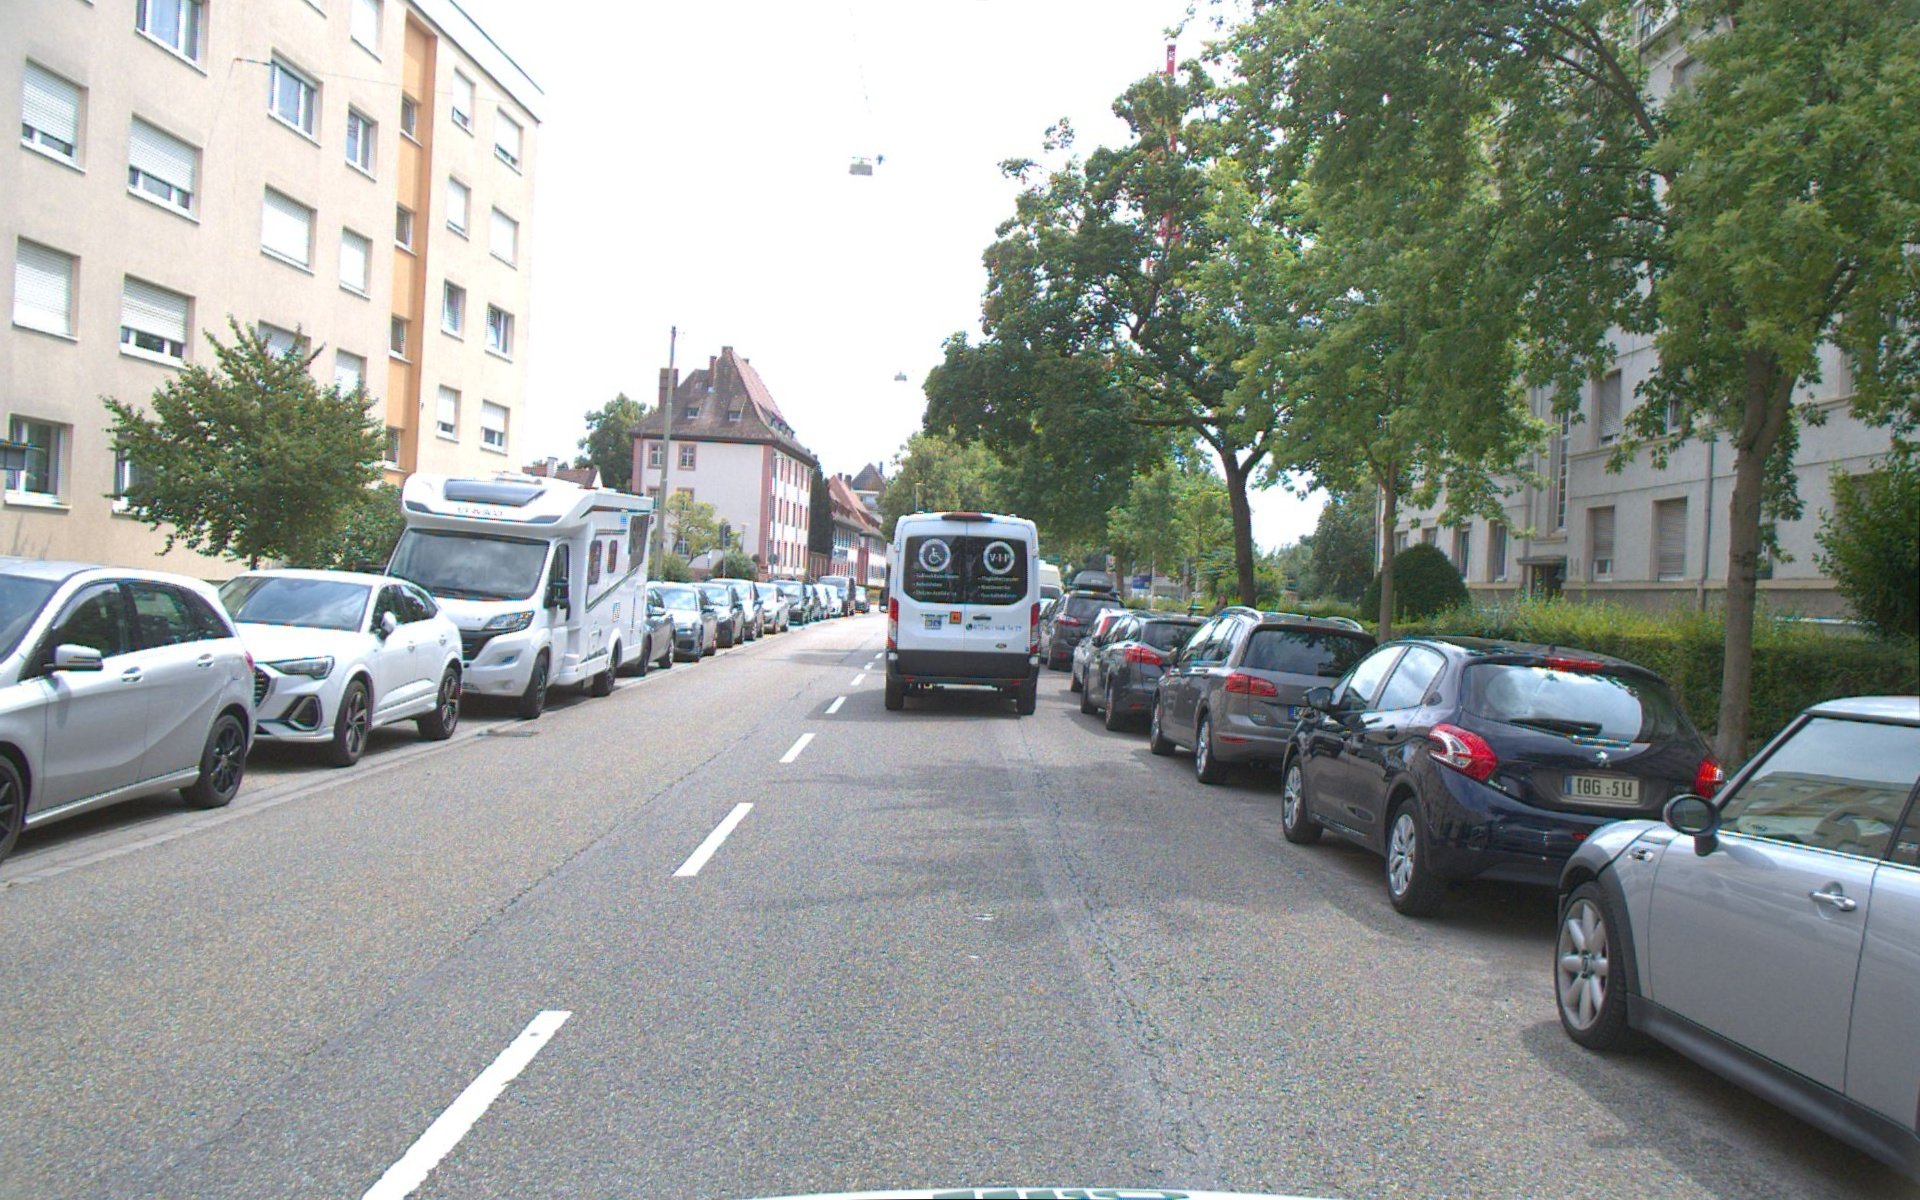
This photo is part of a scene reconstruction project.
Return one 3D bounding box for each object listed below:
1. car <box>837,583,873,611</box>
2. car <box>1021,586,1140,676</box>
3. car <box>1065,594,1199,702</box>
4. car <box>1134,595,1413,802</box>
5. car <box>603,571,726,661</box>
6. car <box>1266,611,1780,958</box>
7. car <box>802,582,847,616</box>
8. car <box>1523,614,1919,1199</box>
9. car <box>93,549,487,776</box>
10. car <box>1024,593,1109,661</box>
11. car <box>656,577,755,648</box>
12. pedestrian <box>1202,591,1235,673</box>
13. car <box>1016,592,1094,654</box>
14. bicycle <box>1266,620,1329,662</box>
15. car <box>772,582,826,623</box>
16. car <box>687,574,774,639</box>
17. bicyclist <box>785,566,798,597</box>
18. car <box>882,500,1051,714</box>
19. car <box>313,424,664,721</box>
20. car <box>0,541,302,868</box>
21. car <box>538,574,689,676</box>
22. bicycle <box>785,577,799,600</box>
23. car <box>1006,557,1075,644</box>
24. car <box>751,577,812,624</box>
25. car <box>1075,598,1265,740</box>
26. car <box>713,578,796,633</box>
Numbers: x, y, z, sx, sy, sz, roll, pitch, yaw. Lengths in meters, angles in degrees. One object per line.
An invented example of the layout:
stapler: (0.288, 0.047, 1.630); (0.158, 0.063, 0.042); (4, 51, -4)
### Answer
car: (-6.024, -0.186, 95.251); (1.749, 1.507, 3.861); (4, 0, 0)
car: (2.592, 0.624, 36.875); (1.889, 1.690, 5.322); (5, 0, -3)
car: (2.685, 0.700, 26.544); (1.625, 1.482, 4.035); (4, 0, 0)
car: (2.906, 0.838, 16.265); (1.626, 1.610, 4.284); (5, 0, -3)
car: (-6.001, 0.275, 34.171); (1.849, 1.606, 5.215); (4, 0, -4)
car: (3.091, 0.912, 9.961); (1.626, 1.495, 3.889); (2, 1, -2)
car: (-6.490, -0.062, 79.399); (1.749, 1.507, 3.861); (4, 0, 0)
car: (3.207, 0.887, 4.958); (1.626, 1.495, 3.725); (3, 1, -2)
car: (-5.725, 0.457, 14.817); (1.655, 1.606, 4.593); (4, 0, -1)
car: (2.652, 0.644, 42.048); (1.678, 1.490, 4.000); (5, 0, -2)
car: (-6.163, 0.263, 40.580); (1.706, 1.522, 4.784); (4, 0, -1)
pedestrian: (5.910, 0.724, 37.857); (0.515, 1.860, 0.520); (2, 0, -22)
car: (2.629, 0.599, 46.598); (1.647, 1.494, 4.554); (5, 0, -2)
bicycle: (8.097, 0.977, 39.689); (1.360, 0.933, 0.513); (2, 1, -14)
car: (-6.563, 0.083, 67.715); (1.749, 1.487, 3.861); (4, 0, 0)
car: (-6.265, 0.151, 45.608); (1.848, 1.606, 4.152); (4, 0, -2)
bicyclist: (-8.939, -0.974, 87.737); (0.525, 1.613, 0.692); (2, 0, 2)
car: (-0.014, 0.090, 22.727); (2.029, 2.585, 4.632); (2, 0, -3)
car: (-5.807, -0.328, 21.745); (2.460, 3.076, 7.395); (4, 0, -1)
car: (-5.643, 0.478, 9.620); (1.719, 1.606, 4.568); (4, 0, 0)
car: (-5.907, 0.375, 28.665); (1.655, 1.522, 4.593); (4, 0, -1)
bicycle: (-8.938, -0.599, 88.062); (0.530, 1.195, 1.349); (2, 0, 2)
car: (2.644, -0.005, 55.344); (1.859, 2.631, 4.828); (5, 0, -1)
car: (-6.600, 0.019, 61.475); (1.749, 1.570, 3.861); (4, 0, 0)
car: (2.589, 0.799, 21.322); (1.585, 1.494, 4.389); (4, 0, -3)
car: (-6.359, 0.152, 51.664); (1.847, 1.514, 4.634); (4, 0, 1)
